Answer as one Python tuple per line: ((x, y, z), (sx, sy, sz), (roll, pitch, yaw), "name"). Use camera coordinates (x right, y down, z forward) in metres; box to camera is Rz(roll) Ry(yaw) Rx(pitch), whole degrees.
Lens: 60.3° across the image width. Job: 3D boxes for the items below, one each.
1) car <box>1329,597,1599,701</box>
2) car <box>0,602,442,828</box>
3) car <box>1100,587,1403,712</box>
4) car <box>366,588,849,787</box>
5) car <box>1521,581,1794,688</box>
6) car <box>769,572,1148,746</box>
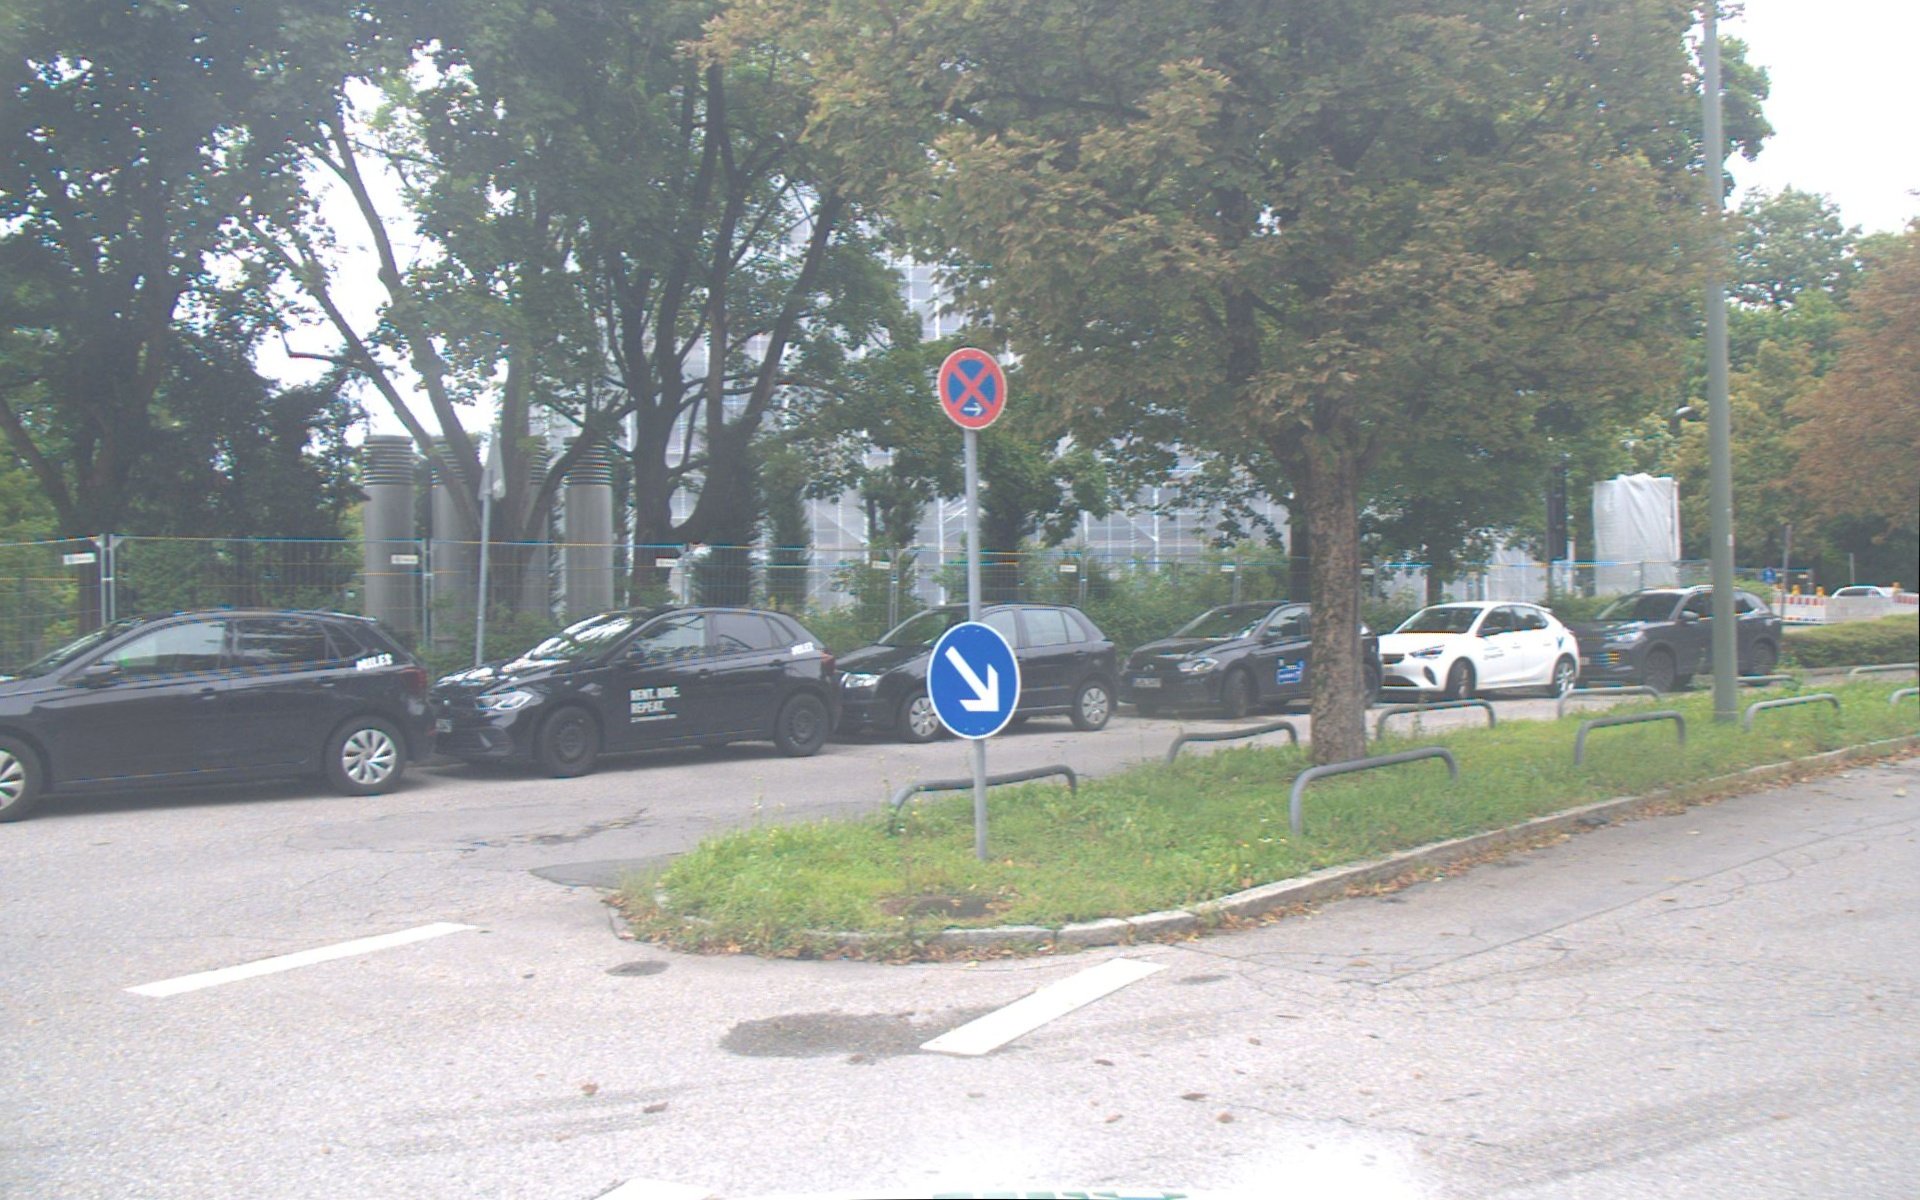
((7.587, 0.692, 24.741), (4.175, 1.408, 1.777), (-1, -1, -38), "car")
((-6.249, 0.782, 12.571), (4.004, 1.458, 1.971), (-1, 1, -40), "car")
((3.882, 0.606, 21.754), (3.969, 1.486, 1.813), (-1, -1, -40), "car")
((-3.201, 0.693, 15.367), (3.963, 1.568, 1.971), (-1, 1, -40), "car")
((11.435, 0.575, 27.071), (4.334, 1.634, 1.873), (1, -2, -29), "car")
((0.042, 0.564, 18.559), (3.963, 1.735, 1.971), (-1, 1, -40), "car")
